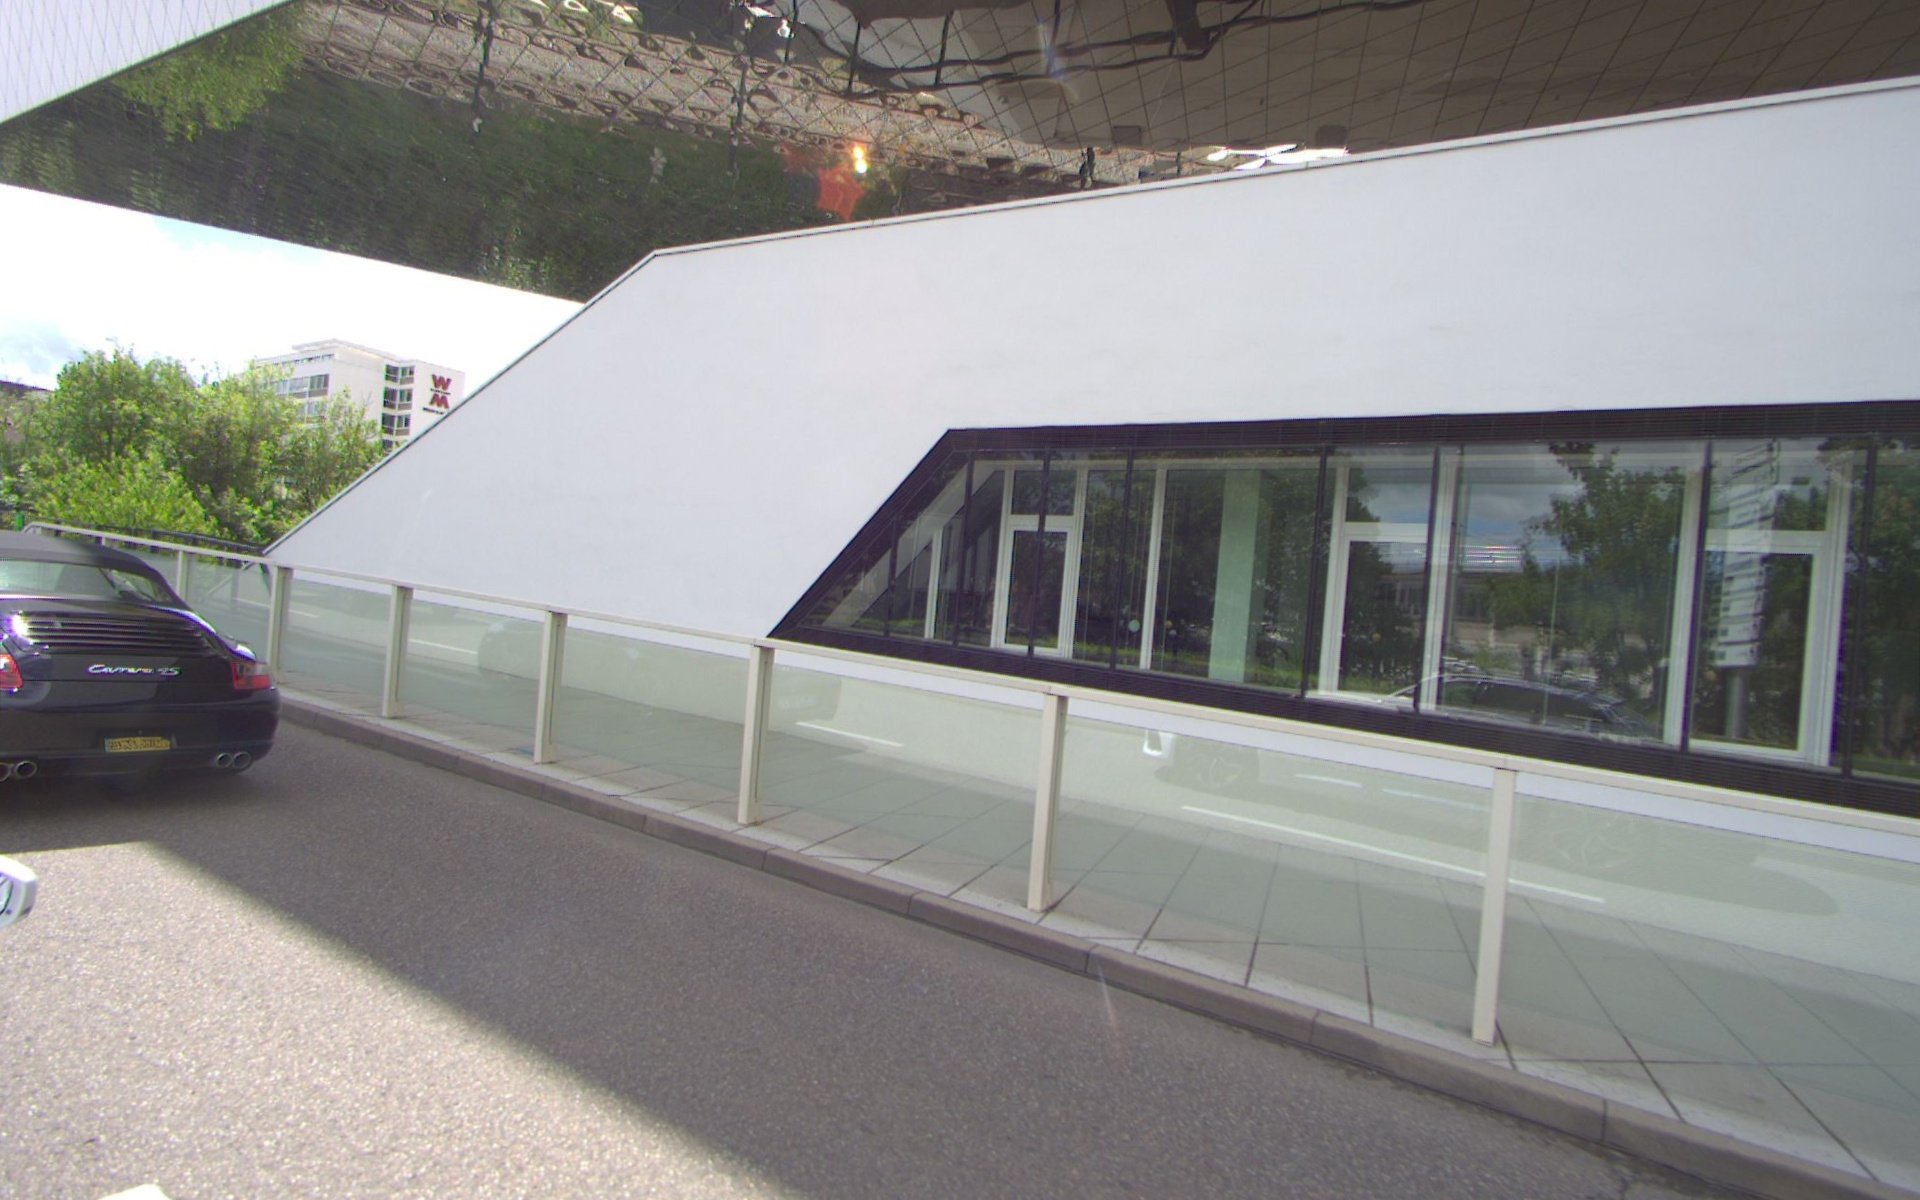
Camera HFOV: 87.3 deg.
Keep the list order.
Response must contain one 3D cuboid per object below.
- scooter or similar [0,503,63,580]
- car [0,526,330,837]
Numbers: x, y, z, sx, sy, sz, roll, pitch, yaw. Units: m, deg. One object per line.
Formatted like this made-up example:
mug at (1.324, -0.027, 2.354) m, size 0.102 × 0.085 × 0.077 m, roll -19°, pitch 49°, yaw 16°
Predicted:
scooter or similar at (-16.797, -1.072, 17.860) m, size 1.825 × 1.229 × 0.654 m, roll 6°, pitch 1°, yaw 29°
car at (-5.612, 0.242, 5.759) m, size 4.020 × 1.290 × 1.722 m, roll 6°, pitch -1°, yaw 32°
